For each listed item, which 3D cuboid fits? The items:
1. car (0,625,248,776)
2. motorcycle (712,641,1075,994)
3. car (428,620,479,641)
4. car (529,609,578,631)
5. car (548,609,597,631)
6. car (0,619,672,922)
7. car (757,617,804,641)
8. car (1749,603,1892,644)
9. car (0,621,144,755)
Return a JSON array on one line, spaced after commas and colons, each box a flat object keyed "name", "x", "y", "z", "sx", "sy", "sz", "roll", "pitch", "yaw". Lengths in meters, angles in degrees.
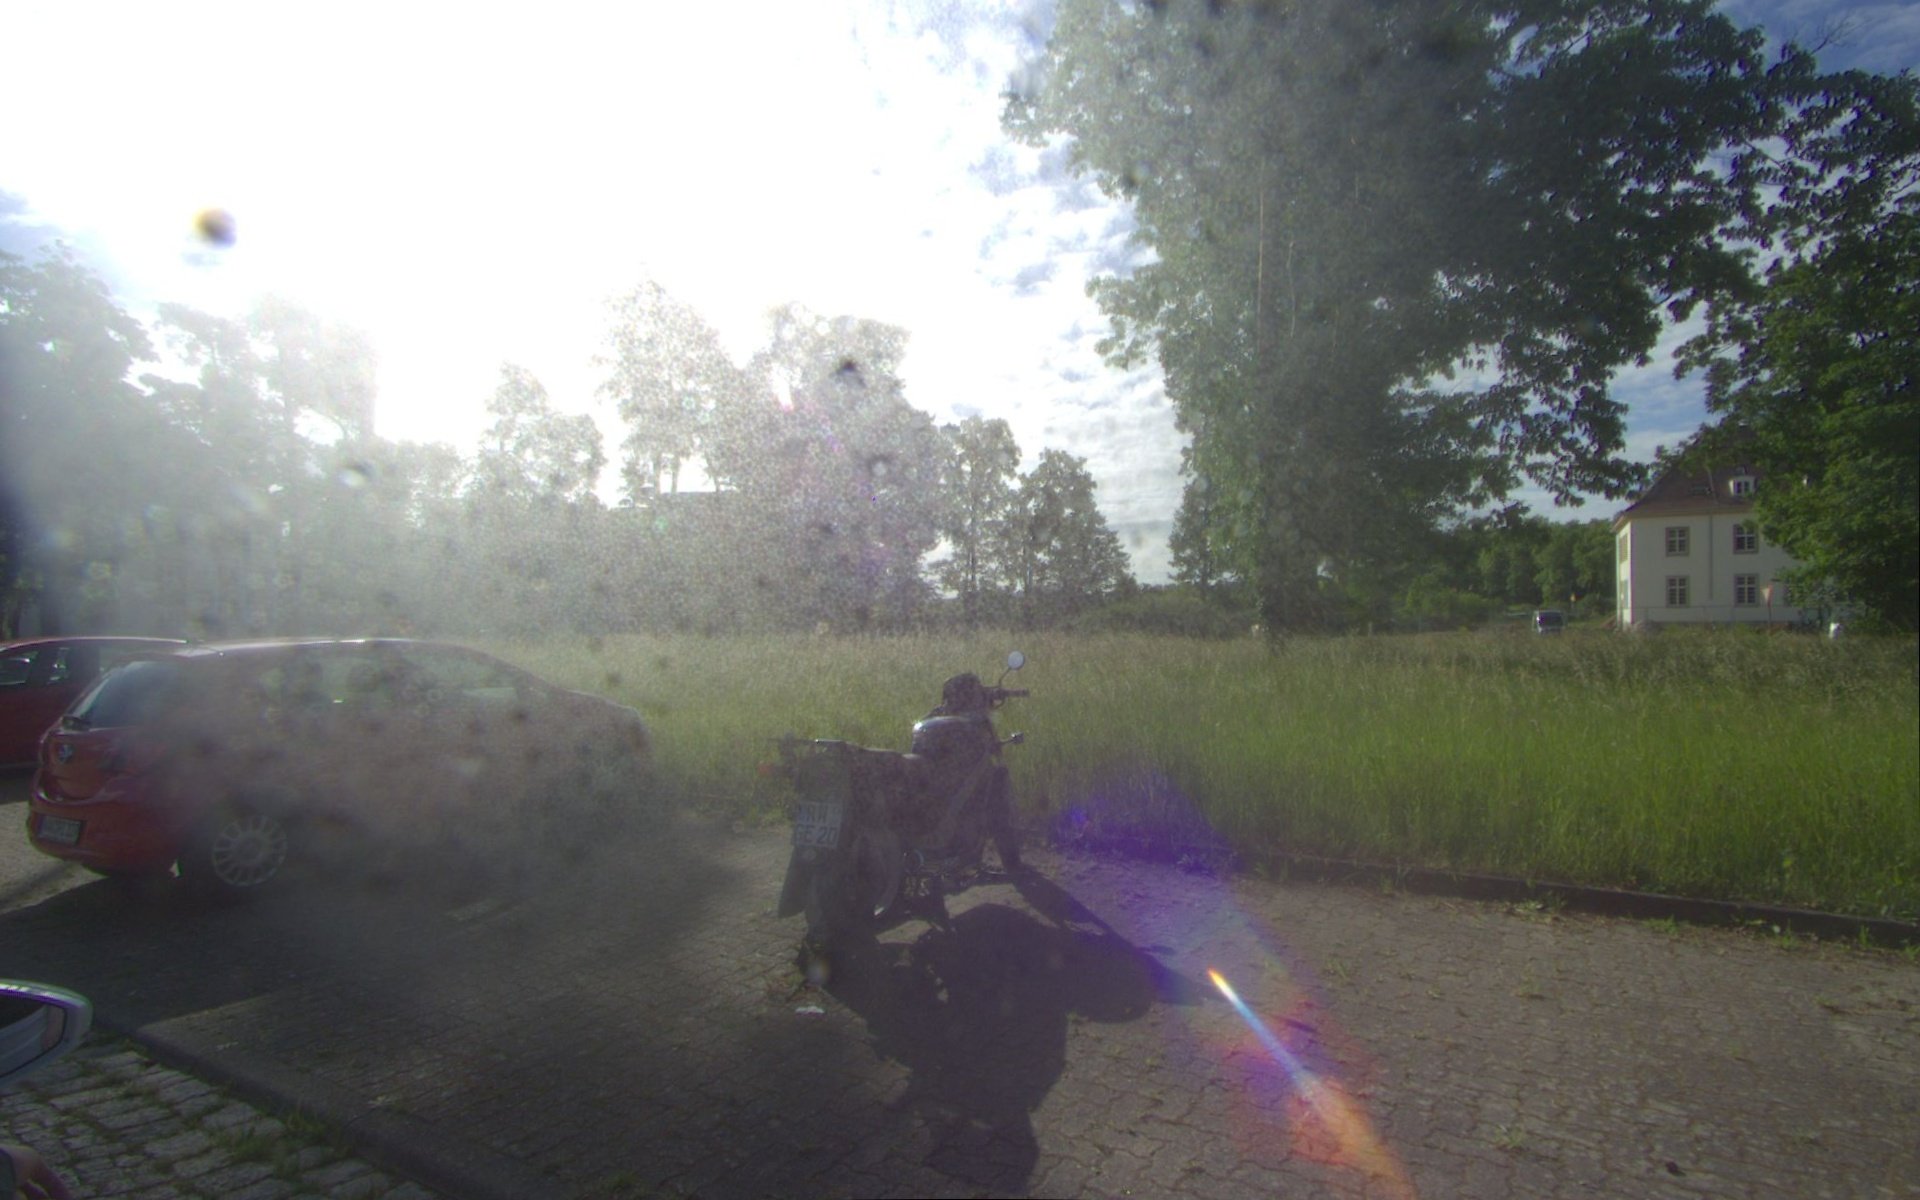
[{"name": "car", "x": -10.438, "y": 1.068, "z": 11.164, "sx": 1.620, "sy": 1.550, "sz": 3.759, "roll": -1, "pitch": -1, "yaw": 29}, {"name": "motorcycle", "x": -0.199, "y": 0.924, "z": 5.201, "sx": 0.715, "sy": 1.337, "sz": 2.296, "roll": -1, "pitch": 0, "yaw": 30}, {"name": "car", "x": -48.798, "y": 2.912, "z": 96.611, "sx": 1.970, "sy": 2.040, "sz": 3.982, "roll": -1, "pitch": -1, "yaw": 30}, {"name": "car", "x": -38.616, "y": 1.896, "z": 95.288, "sx": 1.970, "sy": 2.040, "sz": 3.982, "roll": -1, "pitch": -1, "yaw": 30}, {"name": "car", "x": -36.440, "y": 1.896, "z": 94.322, "sx": 1.970, "sy": 2.040, "sz": 3.982, "roll": -1, "pitch": -1, "yaw": 30}, {"name": "car", "x": -4.085, "y": 0.920, "z": 7.211, "sx": 1.621, "sy": 1.498, "sz": 3.822, "roll": -1, "pitch": 0, "yaw": 30}, {"name": "car", "x": -15.650, "y": 2.505, "z": 87.376, "sx": 1.970, "sy": 2.040, "sz": 3.982, "roll": -1, "pitch": -1, "yaw": 30}, {"name": "car", "x": 50.089, "y": 1.415, "z": 58.424, "sx": 2.347, "sy": 2.199, "sz": 5.973, "roll": 0, "pitch": -2, "yaw": -37}, {"name": "car", "x": -12.811, "y": 1.093, "z": 12.329, "sx": 1.745, "sy": 1.642, "sz": 3.932, "roll": -1, "pitch": -1, "yaw": 29}]
